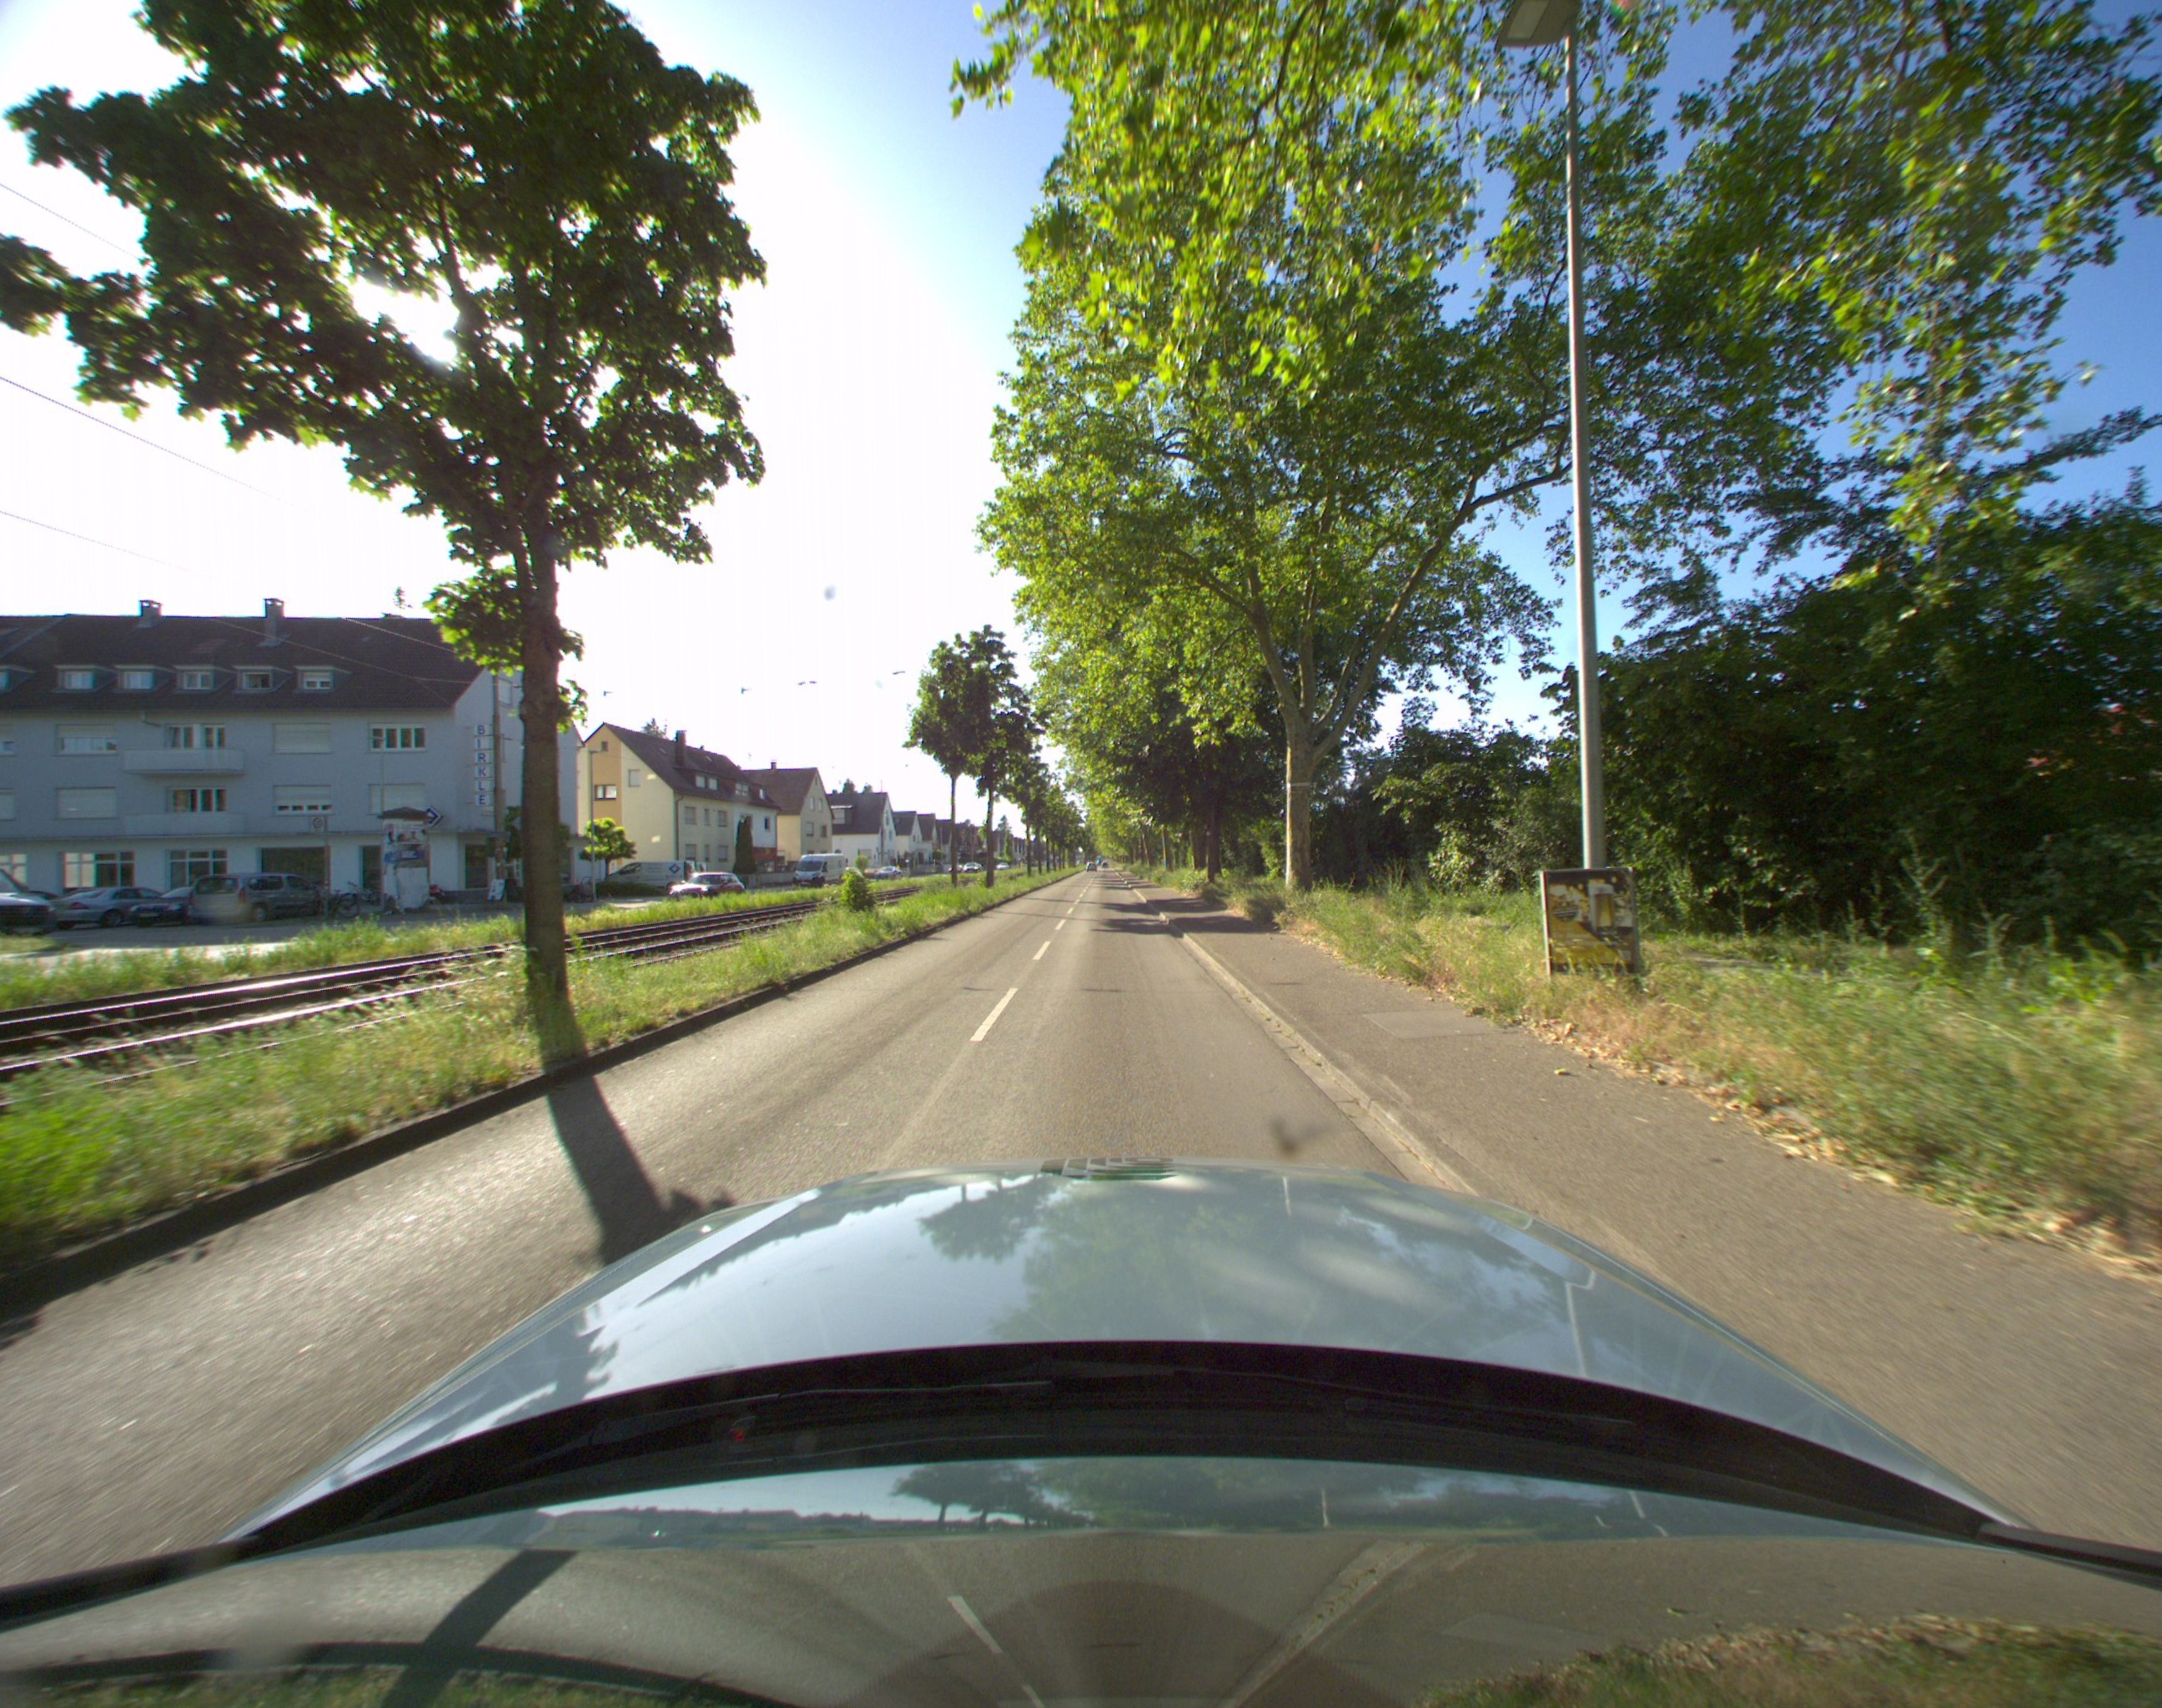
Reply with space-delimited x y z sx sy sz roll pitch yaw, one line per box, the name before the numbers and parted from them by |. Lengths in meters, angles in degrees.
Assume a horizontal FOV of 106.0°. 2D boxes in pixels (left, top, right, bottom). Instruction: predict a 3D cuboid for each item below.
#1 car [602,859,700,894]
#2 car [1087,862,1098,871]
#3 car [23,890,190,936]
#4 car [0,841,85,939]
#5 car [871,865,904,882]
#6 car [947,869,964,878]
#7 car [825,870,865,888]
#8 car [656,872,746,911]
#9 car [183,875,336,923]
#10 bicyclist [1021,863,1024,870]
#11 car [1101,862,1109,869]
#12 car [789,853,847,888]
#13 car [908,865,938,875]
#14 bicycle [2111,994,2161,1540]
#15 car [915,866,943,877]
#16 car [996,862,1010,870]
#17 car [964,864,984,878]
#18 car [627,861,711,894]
car | -25.046 1.285 47.576 4.616 1.946 1.994 0 -1 -9
car | 1.849 1.971 128.102 1.732 1.401 3.277 0 -1 1
car | -35.216 2.089 29.600 1.792 1.492 3.624 1 -1 -5
car | -31.081 0.909 21.176 7.049 2.507 2.328 0 -1 -3
car | -19.049 1.866 80.356 1.986 1.581 4.500 0 0 2
car | -18.214 2.810 118.328 1.487 1.326 4.003 0 -1 3
car | -19.281 2.009 66.722 1.818 1.412 4.658 0 -1 1
car | -15.519 1.487 33.489 1.670 1.410 4.001 -1 -1 2
car | -30.403 1.619 30.346 1.793 1.670 4.089 1 -1 -7
bicyclist | -13.408 2.814 186.312 0.686 1.652 0.882 1 -1 1
car | 5.680 2.675 192.579 1.754 1.513 3.278 0 -1 2
car | -19.528 1.216 60.839 1.986 2.459 6.675 0 -1 1
car | -23.606 2.350 121.685 4.202 1.464 1.936 1 -1 -3
bicycle | 2.513 0.875 0.908 0.438 1.153 1.823 0 -1 2
car | -23.616 2.680 126.379 3.977 1.669 1.998 1 -1 -3
car | -16.654 2.632 174.133 1.984 1.599 4.737 0 -1 5
car | -14.649 2.380 111.421 1.908 1.883 4.526 0 -1 3
car | -25.246 1.436 50.072 4.137 1.952 1.994 0 -1 -9
